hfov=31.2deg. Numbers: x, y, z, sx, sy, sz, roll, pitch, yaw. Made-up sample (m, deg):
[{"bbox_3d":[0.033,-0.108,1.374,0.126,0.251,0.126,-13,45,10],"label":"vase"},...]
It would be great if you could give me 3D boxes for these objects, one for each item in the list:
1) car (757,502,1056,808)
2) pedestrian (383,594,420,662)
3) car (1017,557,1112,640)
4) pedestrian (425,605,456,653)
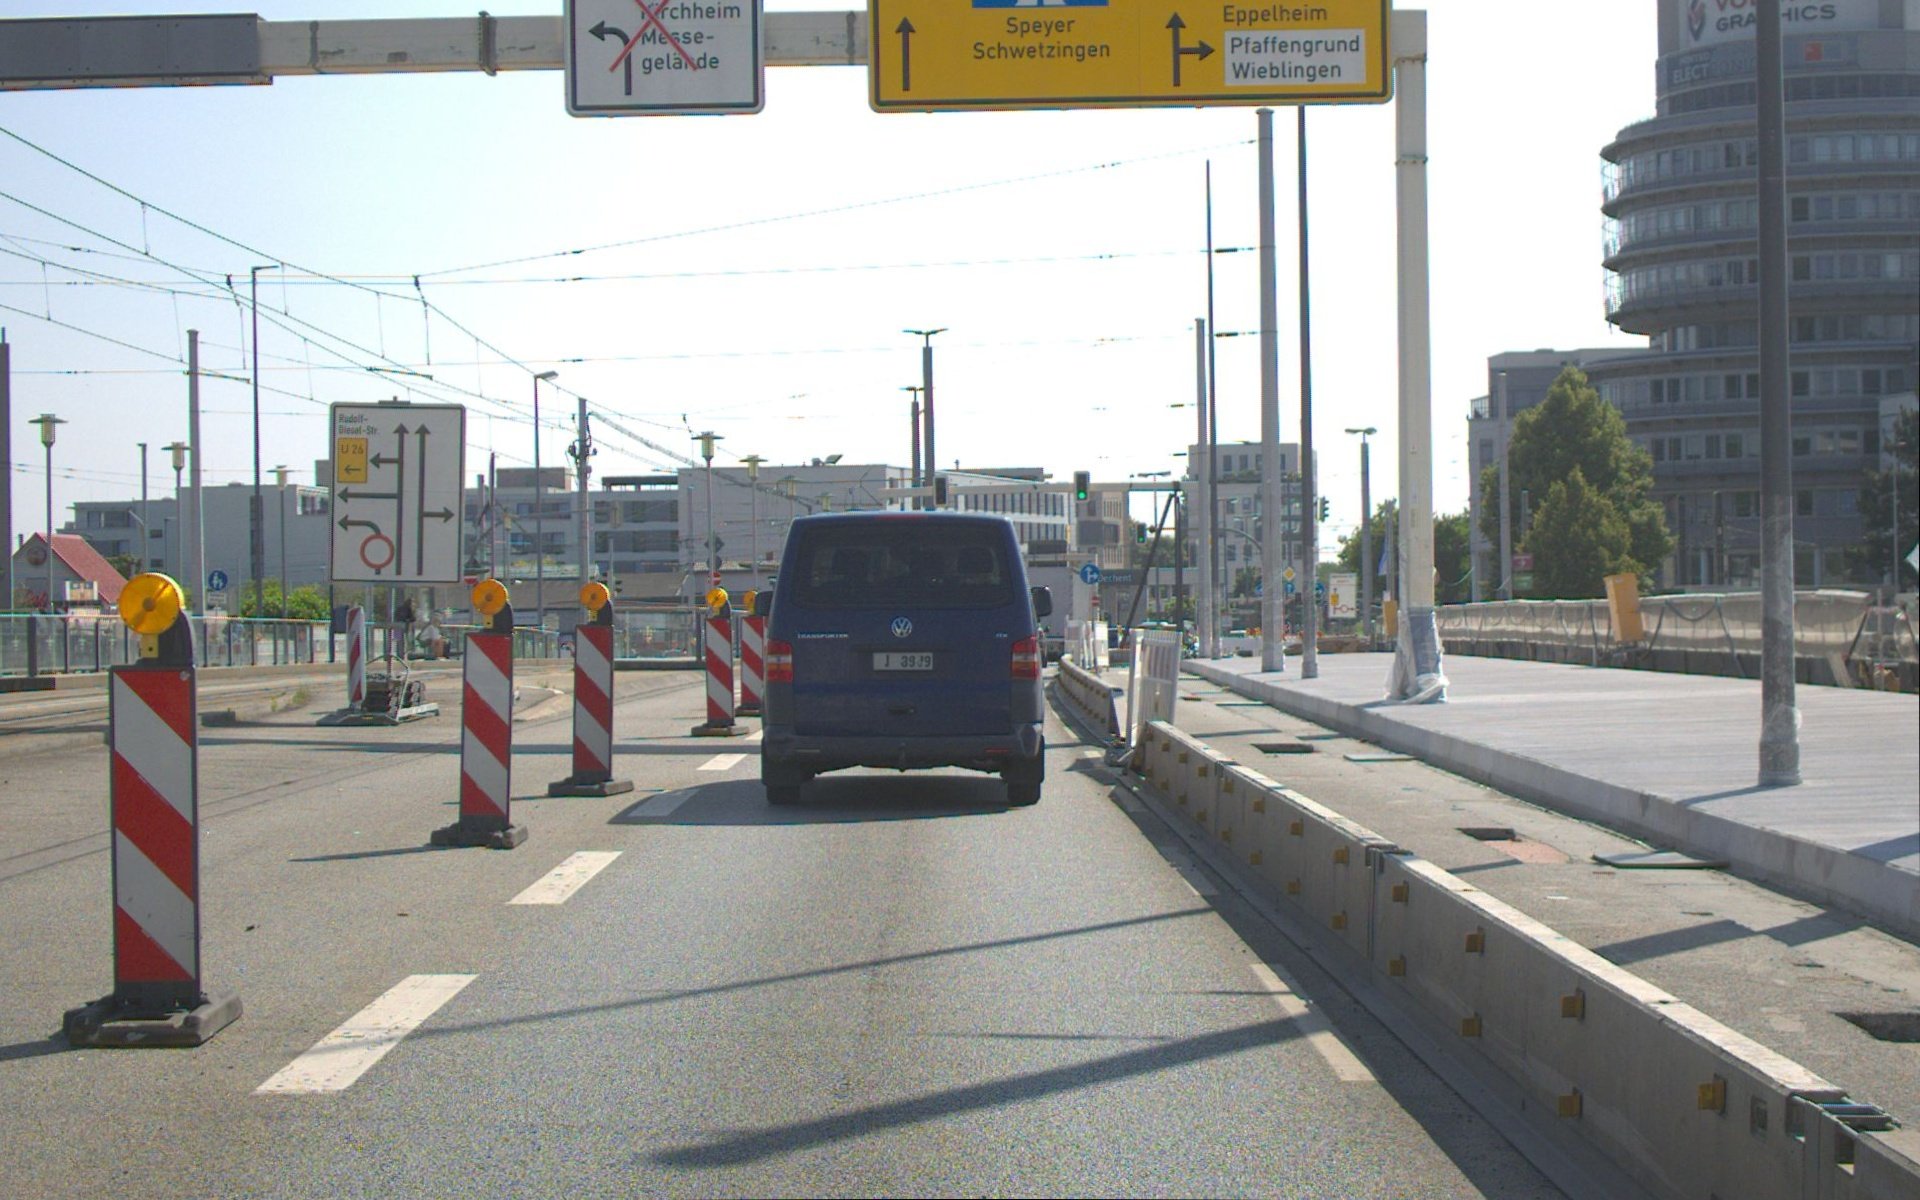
[{"bbox_3d":[-0.382,0.340,24.013,1.888,1.927,4.000,1,0,-1],"label":"car"},{"bbox_3d":[-13.717,0.684,84.432,0.660,1.649,0.739,-1,0,13],"label":"pedestrian"},{"bbox_3d":[3.764,-0.072,122.689,2.340,2.877,5.967,1,1,12],"label":"car"},{"bbox_3d":[-13.907,0.768,92.054,0.648,1.269,0.697,-1,0,6],"label":"pedestrian"}]
